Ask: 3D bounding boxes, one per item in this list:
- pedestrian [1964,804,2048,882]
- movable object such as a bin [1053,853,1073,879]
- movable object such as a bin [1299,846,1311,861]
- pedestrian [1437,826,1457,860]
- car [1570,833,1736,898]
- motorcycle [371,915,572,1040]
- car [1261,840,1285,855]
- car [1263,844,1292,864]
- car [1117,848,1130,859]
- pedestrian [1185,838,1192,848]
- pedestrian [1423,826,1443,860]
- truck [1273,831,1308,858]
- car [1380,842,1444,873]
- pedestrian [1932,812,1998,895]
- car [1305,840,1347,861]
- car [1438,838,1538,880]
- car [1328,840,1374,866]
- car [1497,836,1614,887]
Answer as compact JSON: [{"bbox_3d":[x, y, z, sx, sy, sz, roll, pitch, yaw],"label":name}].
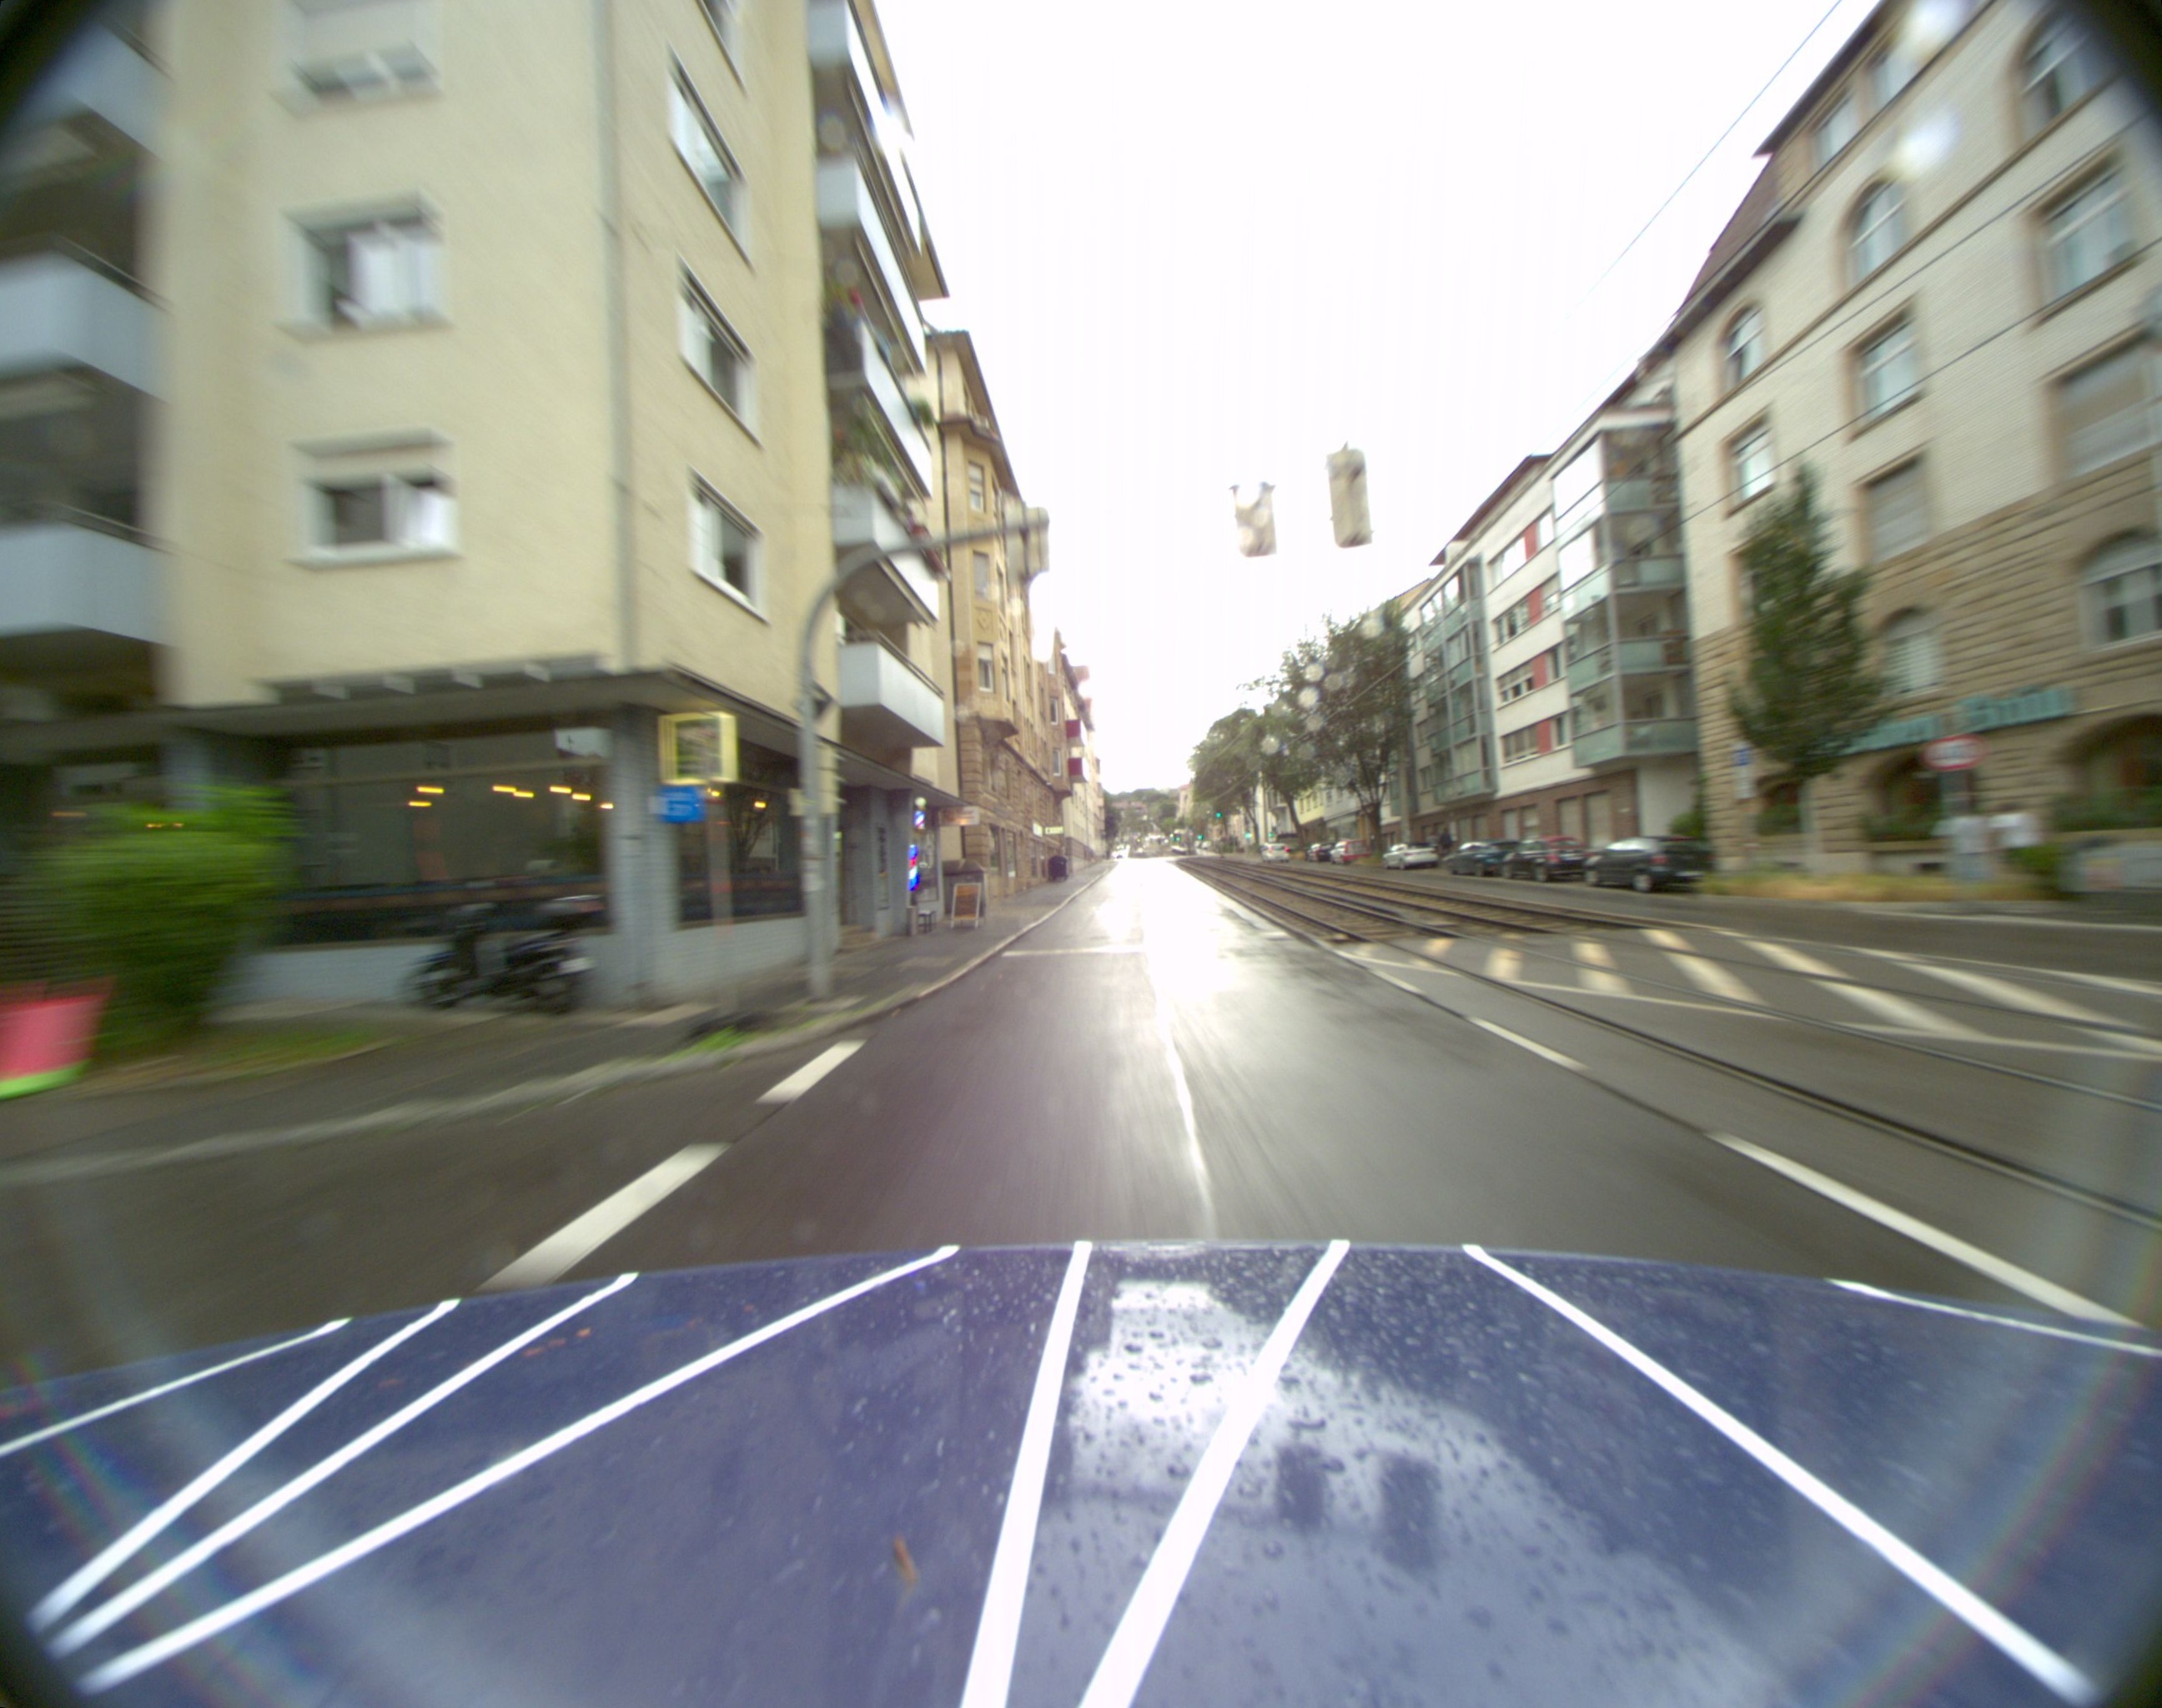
[{"bbox_3d":[17.744,-0.211,14.594,0.756,1.413,0.645,-3,1,5],"label":"pedestrian"},{"bbox_3d":[-1.043,0.705,43.877,1.011,1.443,1.393,-1,1,5],"label":"movable object such as a bin"},{"bbox_3d":[18.128,-0.050,61.411,0.726,1.115,0.671,-2,1,-1],"label":"movable object such as a bin"},{"bbox_3d":[19.501,-0.608,40.494,0.675,1.762,0.782,-3,1,5],"label":"pedestrian"},{"bbox_3d":[15.528,0.268,20.918,1.768,1.543,3.896,-3,0,4],"label":"car"},{"bbox_3d":[-6.261,1.244,7.842,1.647,1.155,0.600,0,2,6],"label":"motorcycle"},{"bbox_3d":[20.745,-0.732,82.079,1.708,1.451,4.361,-4,1,5],"label":"car"},{"bbox_3d":[15.854,-0.043,61.370,1.630,1.473,3.582,-3,1,6],"label":"car"},{"bbox_3d":[7.098,-0.086,127.476,1.998,1.652,4.000,-3,1,4],"label":"car"},{"bbox_3d":[19.142,-1.971,135.646,1.119,1.772,0.965,-3,1,5],"label":"pedestrian"},{"bbox_3d":[18.810,-0.580,40.563,0.675,1.762,0.782,-3,1,5],"label":"pedestrian"},{"bbox_3d":[19.743,-0.918,71.998,2.196,2.332,6.353,-2,2,7],"label":"truck"},{"bbox_3d":[17.056,0.142,39.355,1.706,1.328,4.131,-5,1,5],"label":"car"},{"bbox_3d":[17.025,-0.012,14.645,0.518,1.561,0.643,-2,1,7],"label":"pedestrian"},{"bbox_3d":[18.595,-0.268,57.875,1.910,1.432,4.470,-3,1,4],"label":"car"},{"bbox_3d":[16.206,0.186,30.498,1.805,1.446,4.432,-4,0,4],"label":"car"},{"bbox_3d":[17.939,-0.073,50.650,1.780,1.560,4.159,-3,1,4],"label":"car"},{"bbox_3d":[15.918,0.219,25.717,1.811,1.489,3.526,-4,0,3],"label":"car"}]
